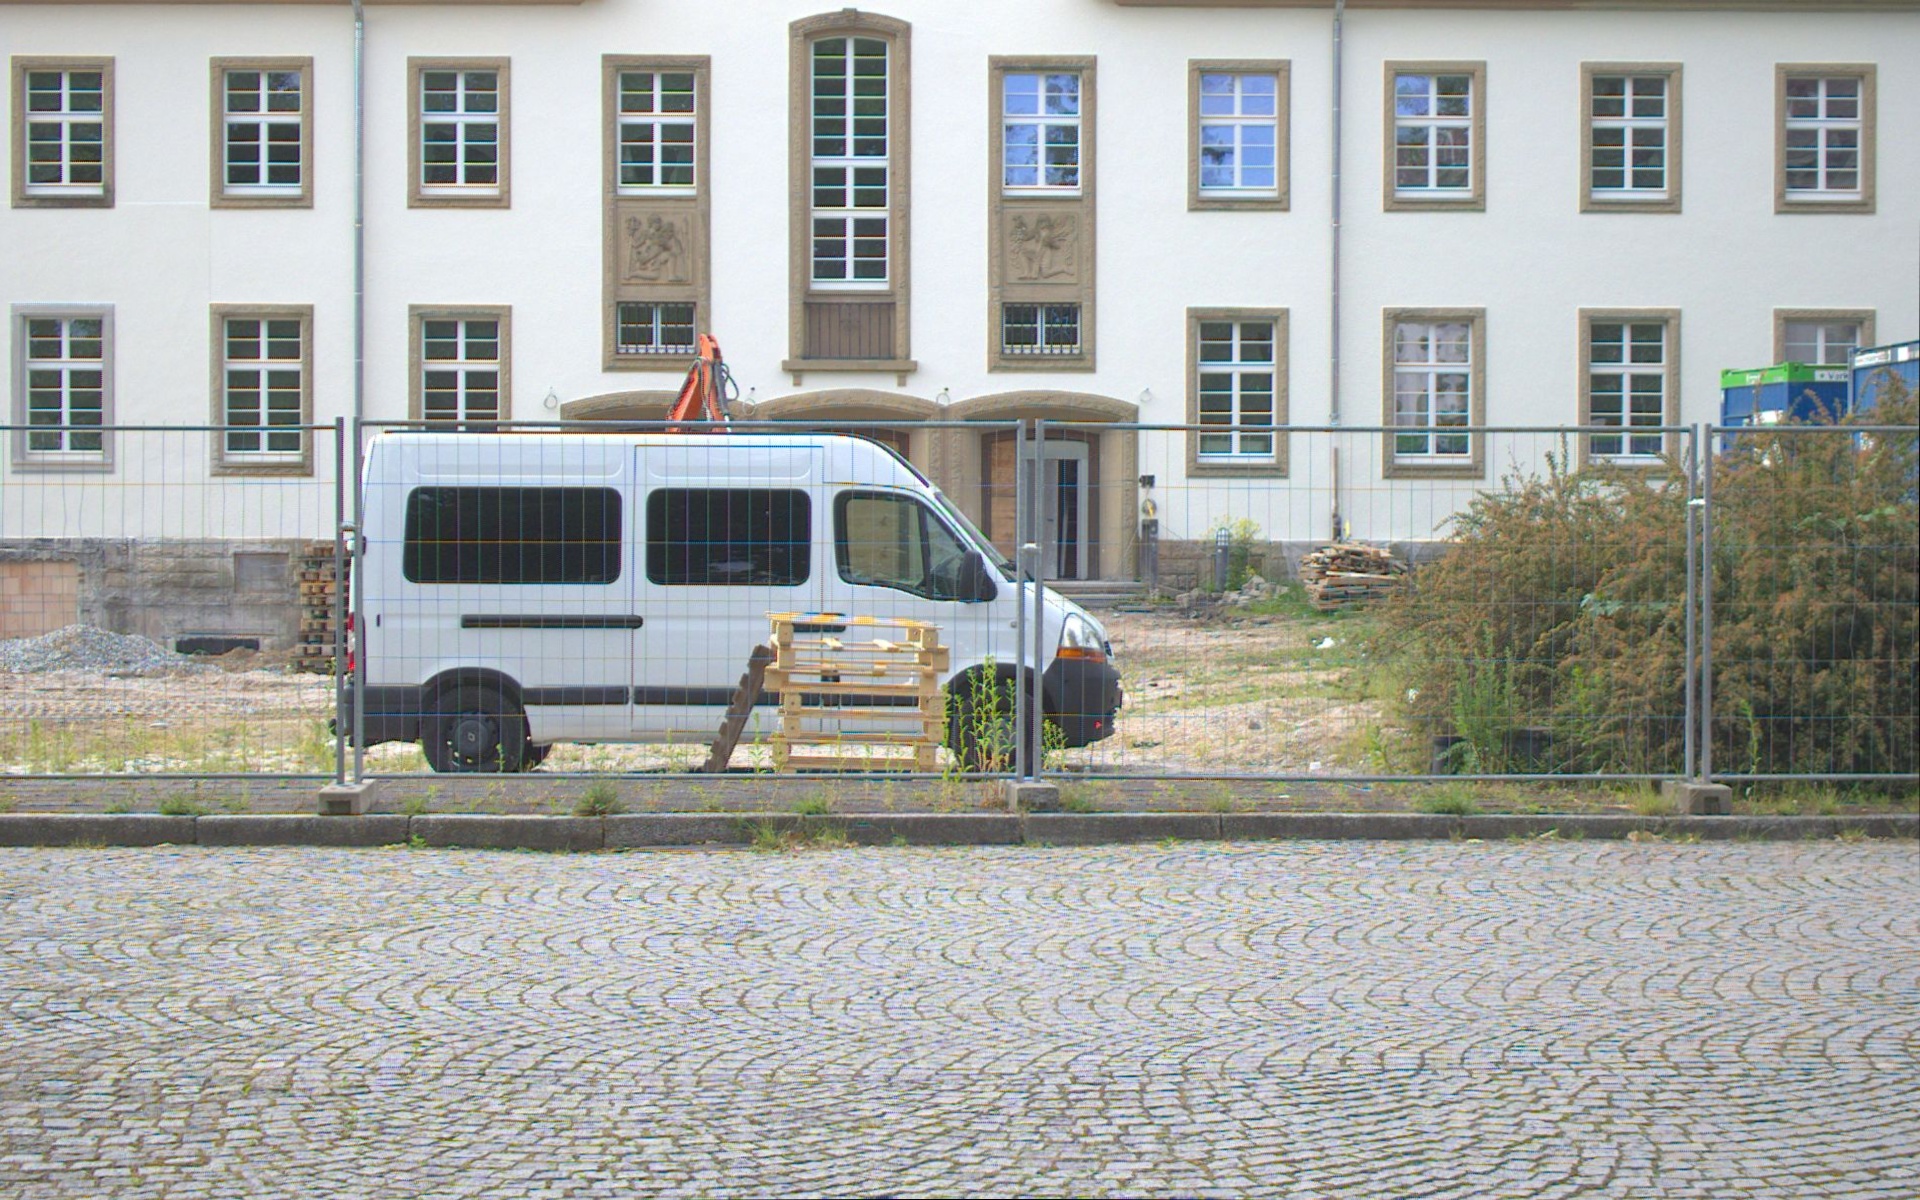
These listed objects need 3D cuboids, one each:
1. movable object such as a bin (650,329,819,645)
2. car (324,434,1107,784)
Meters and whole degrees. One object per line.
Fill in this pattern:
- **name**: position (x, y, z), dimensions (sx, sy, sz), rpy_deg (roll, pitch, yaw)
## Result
- **movable object such as a bin**: position (-2.913, -1.395, 43.706), dimensions (1.993, 3.758, 5.319), rpy_deg (0, 1, -5)
- **car**: position (-1.642, 0.042, 24.079), dimensions (5.262, 2.336, 1.910), rpy_deg (0, 1, 0)
